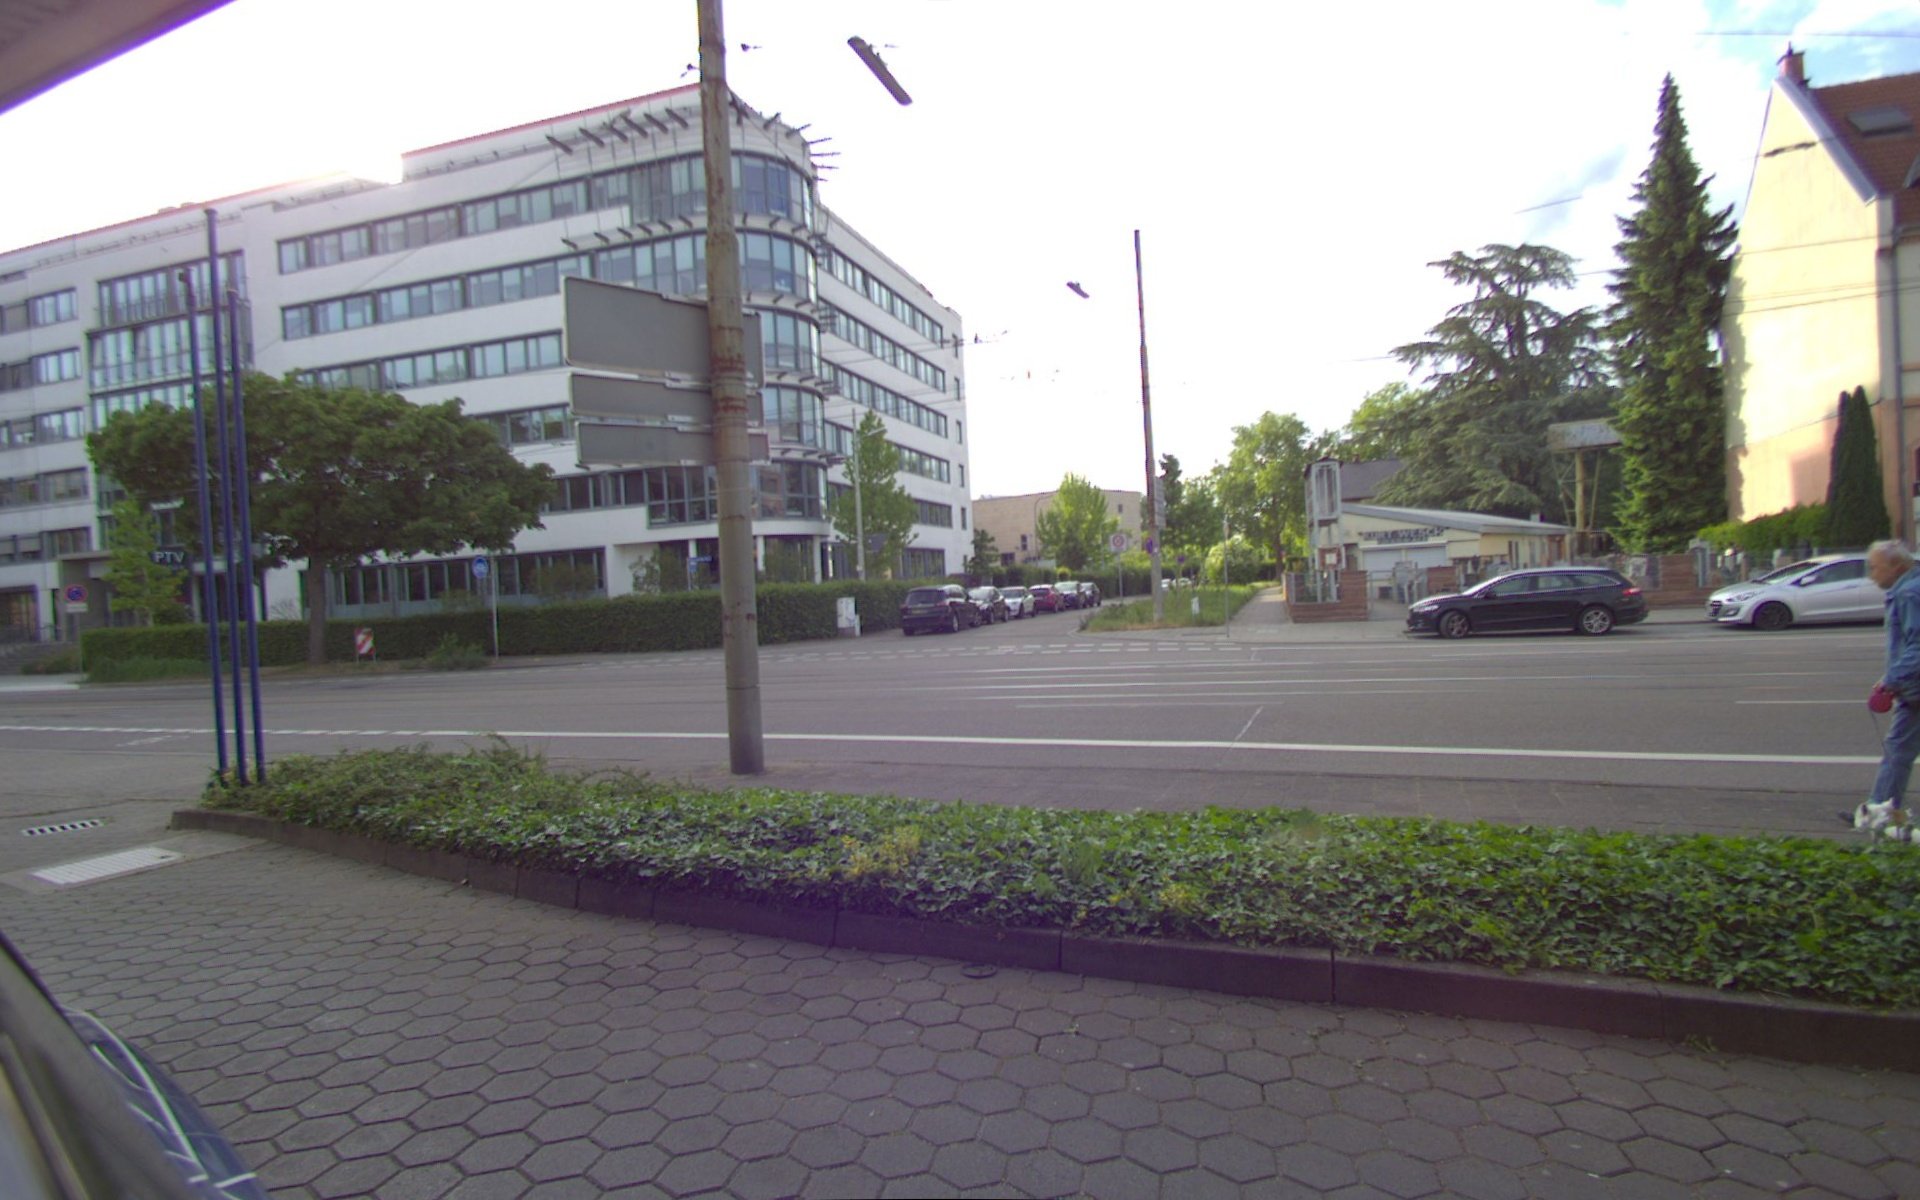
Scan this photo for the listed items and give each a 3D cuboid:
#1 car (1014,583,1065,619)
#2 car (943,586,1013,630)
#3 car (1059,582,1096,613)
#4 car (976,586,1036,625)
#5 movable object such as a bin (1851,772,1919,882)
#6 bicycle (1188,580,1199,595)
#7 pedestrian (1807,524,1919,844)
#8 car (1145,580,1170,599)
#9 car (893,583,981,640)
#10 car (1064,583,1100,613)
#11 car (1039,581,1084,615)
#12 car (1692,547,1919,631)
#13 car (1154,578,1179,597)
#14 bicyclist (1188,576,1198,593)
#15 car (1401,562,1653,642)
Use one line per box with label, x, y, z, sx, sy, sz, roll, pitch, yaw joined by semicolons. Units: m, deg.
car;4.173;0.023;52.495;1.929;1.650;4.274;-3;0;13
car;0.793;0.291;40.977;1.929;1.551;4.274;-3;0;13
car;7.285;-0.161;62.498;1.731;1.748;4.030;-3;0;13
car;2.141;0.214;45.788;1.929;1.530;4.274;-3;0;13
movable object such as a bin;4.679;1.085;4.740;0.473;0.424;0.681;-1;0;-39
bicycle;23.636;-1.268;102.541;0.859;1.320;1.909;-2;3;18
pedestrian;5.449;0.431;5.591;0.988;1.680;0.973;-1;0;-39
car;19.689;-1.089;100.797;1.849;1.748;4.247;-3;1;19
car;-0.725;0.361;35.417;1.994;1.704;4.274;-3;1;13
car;8.087;-0.173;66.759;1.845;1.748;4.256;-3;0;13
car;5.832;-0.151;57.724;1.929;1.748;4.512;-3;0;13
car;18.424;-0.248;21.386;4.424;1.494;1.713;-3;1;21
car;21.680;-1.339;106.167;1.849;1.748;4.246;-3;1;19
bicyclist;23.595;-1.543;102.445;0.859;1.617;1.023;-2;3;18
car;12.913;0.052;23.447;4.742;1.511;2.001;-3;1;21
